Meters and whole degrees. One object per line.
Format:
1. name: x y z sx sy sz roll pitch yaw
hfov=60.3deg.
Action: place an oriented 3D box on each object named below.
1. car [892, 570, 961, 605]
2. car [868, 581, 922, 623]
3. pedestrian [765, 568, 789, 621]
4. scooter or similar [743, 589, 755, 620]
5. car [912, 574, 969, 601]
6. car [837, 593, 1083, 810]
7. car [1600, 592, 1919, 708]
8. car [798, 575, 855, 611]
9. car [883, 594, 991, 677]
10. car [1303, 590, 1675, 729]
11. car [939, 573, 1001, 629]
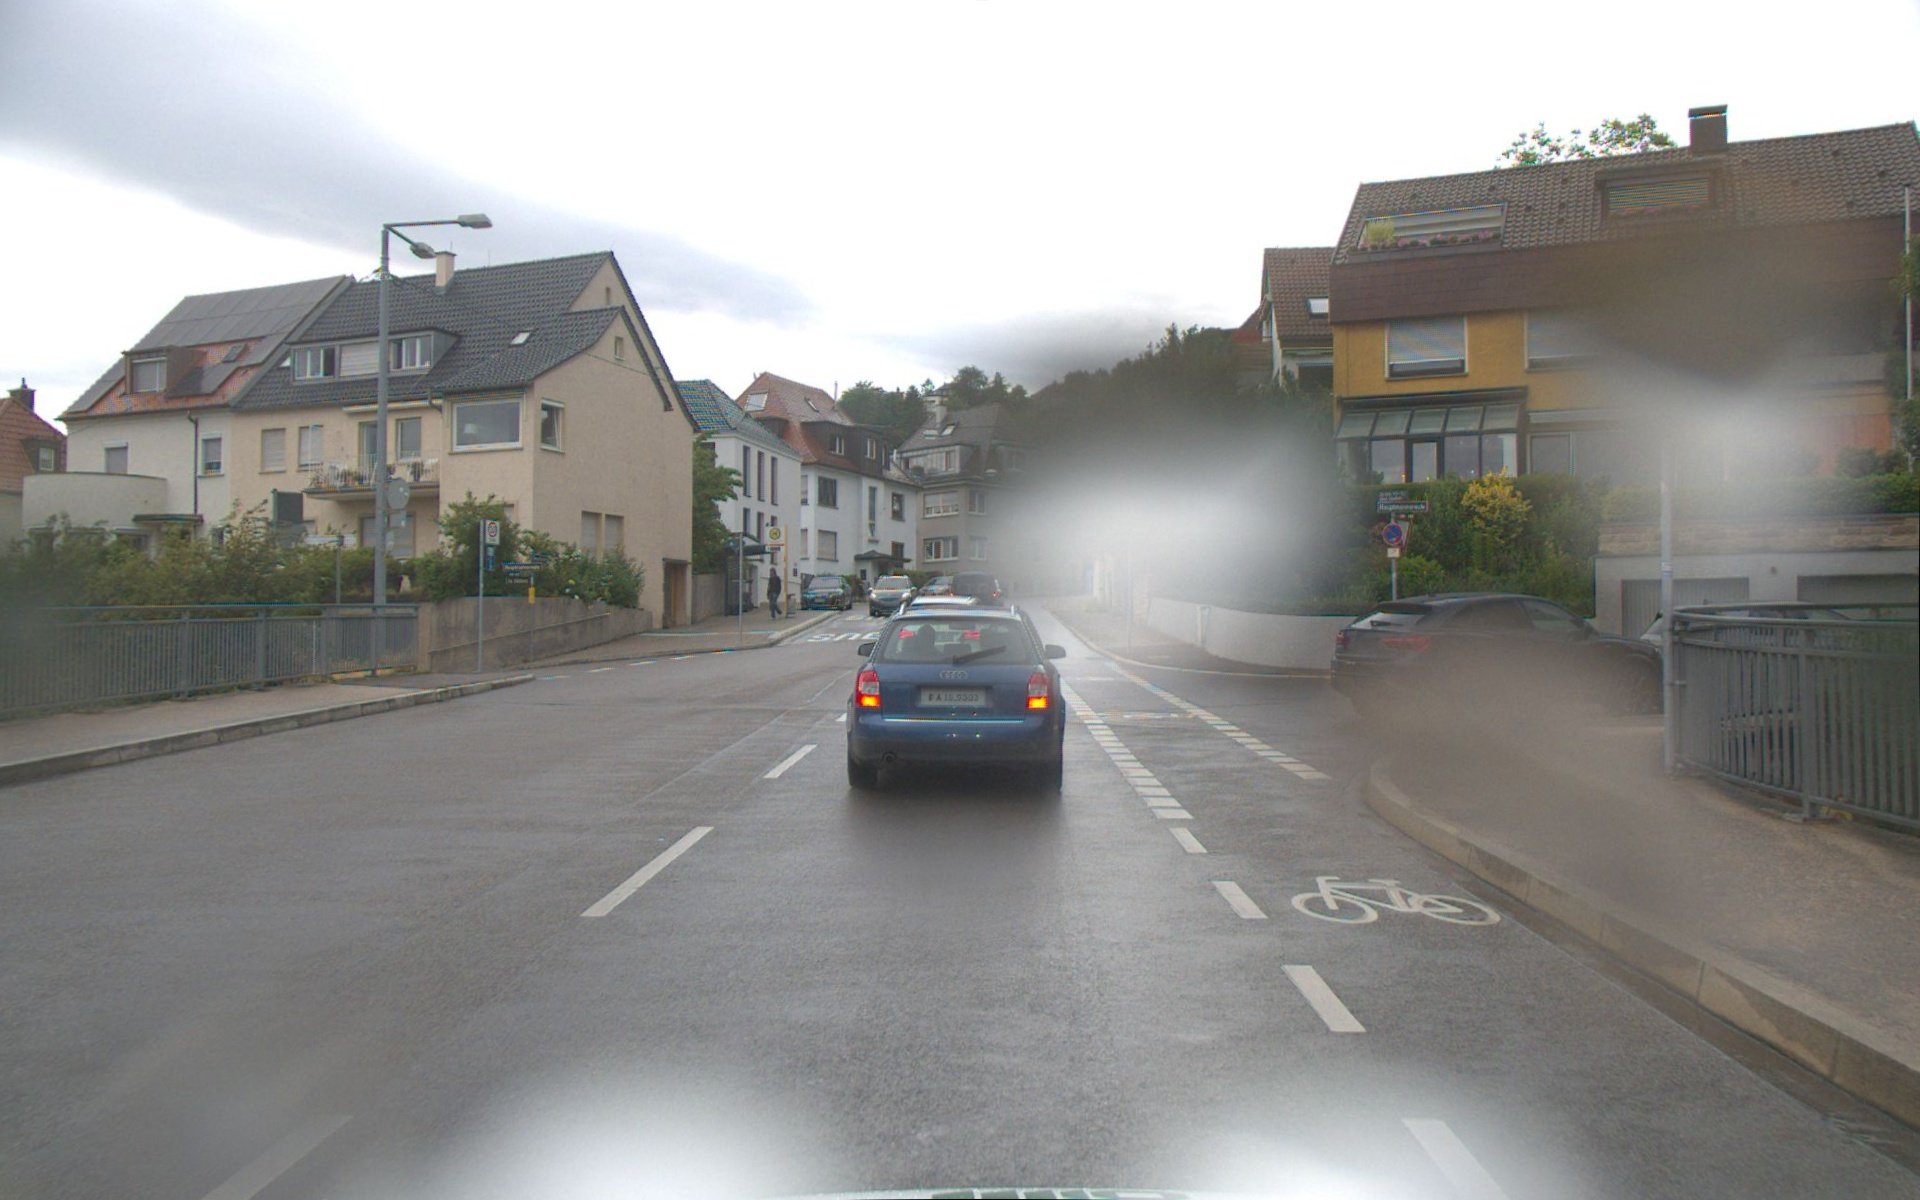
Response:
1. car: -2.197 -0.799 108.056 3.912 1.854 1.997 -6 -1 29
2. car: -2.586 0.079 66.617 1.697 1.572 4.002 -2 0 4
3. pedestrian: -6.651 -0.212 60.208 0.770 1.889 0.728 1 0 1
4. scooter or similar: -8.788 0.177 68.890 0.330 1.241 1.123 0 1 2
5. car: -1.149 -0.770 98.679 1.798 1.450 4.229 -2 0 23
6. car: 0.052 0.730 14.121 1.774 1.464 4.083 1 1 1
7. car: 10.838 0.635 22.267 3.984 1.450 1.790 0 -1 -20
8. car: -5.911 -0.321 73.548 1.790 1.511 4.994 -1 1 4
9. car: -0.483 0.610 30.063 1.775 1.384 3.997 1 0 -3
10. car: 6.544 0.667 20.490 4.131 1.549 1.986 0 1 -23
11. car: 0.351 0.036 53.946 1.888 1.736 4.001 1 0 2
